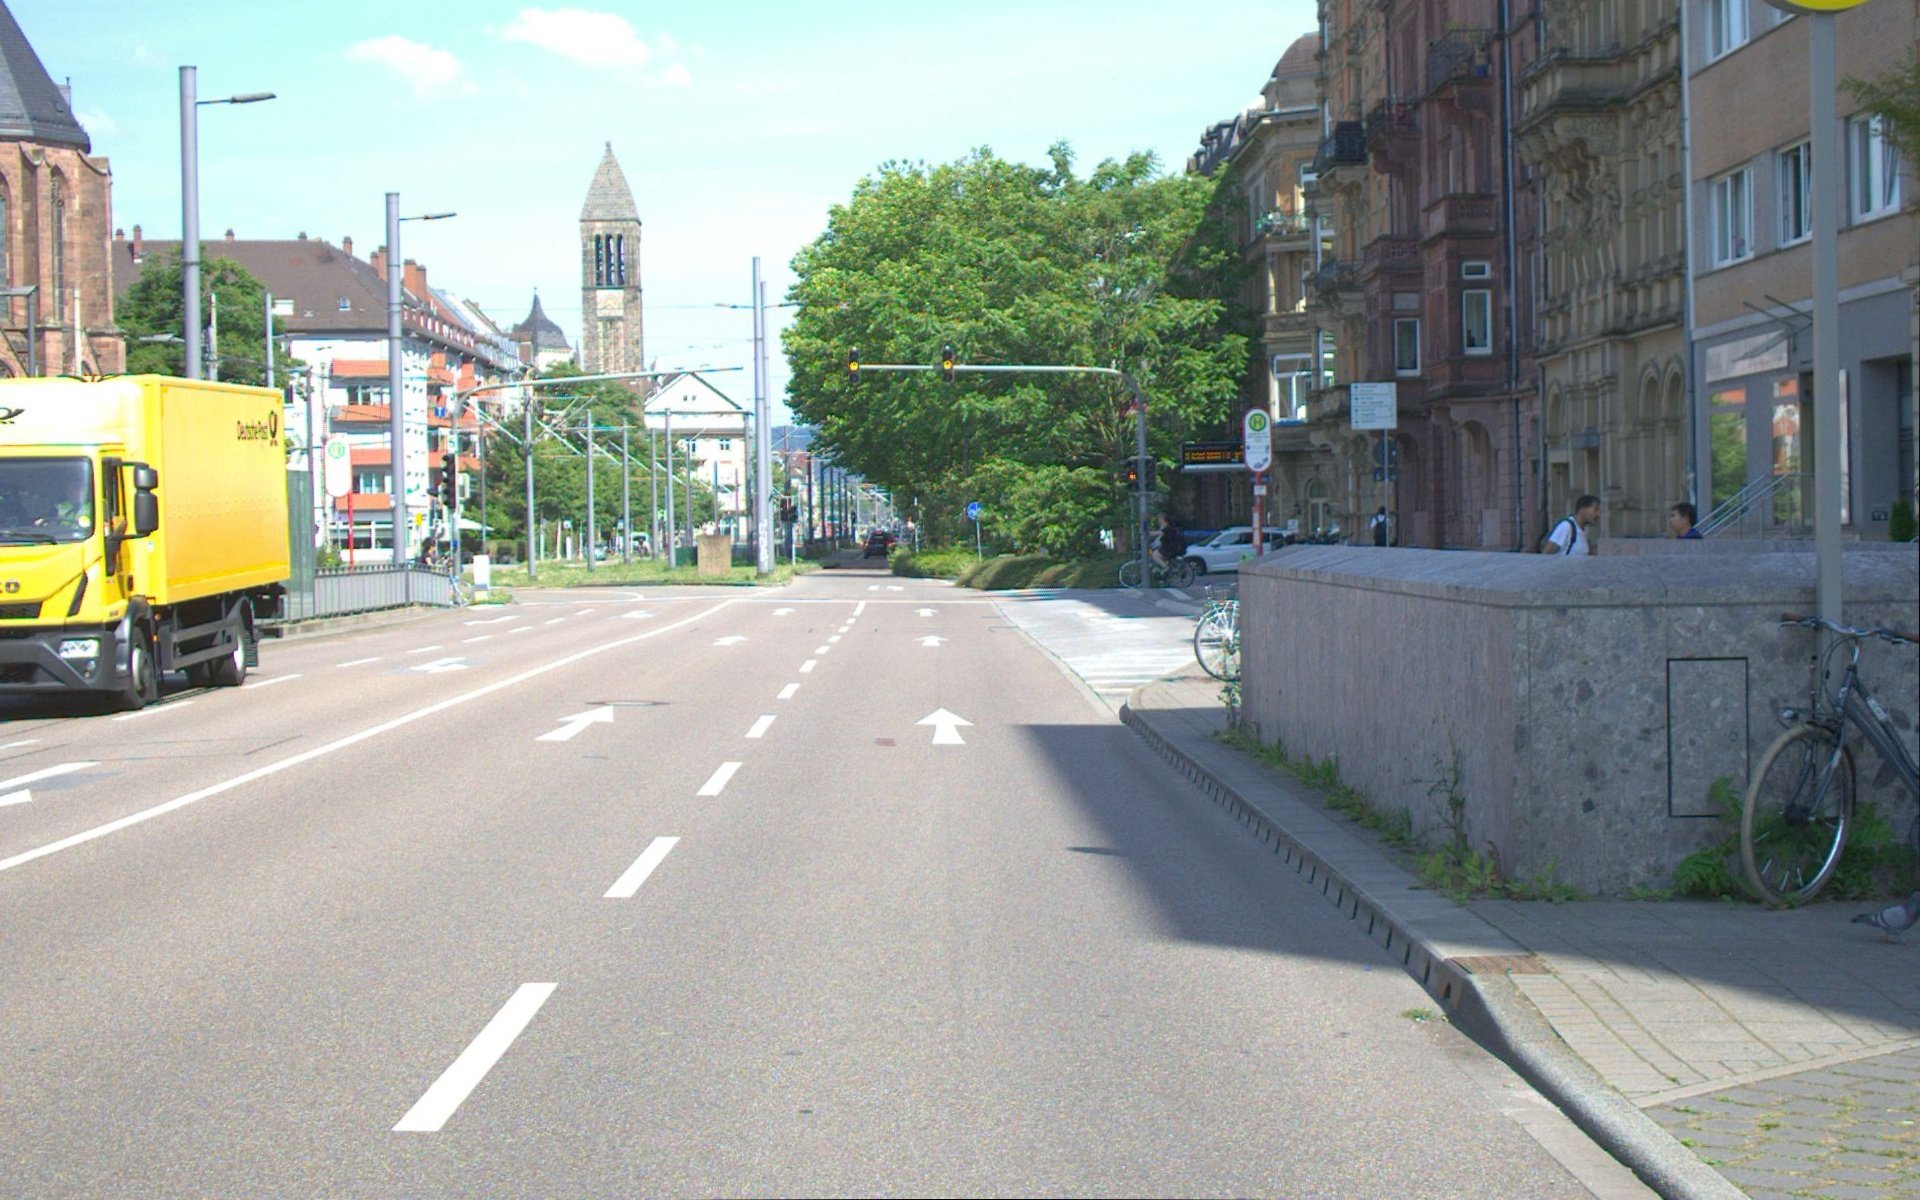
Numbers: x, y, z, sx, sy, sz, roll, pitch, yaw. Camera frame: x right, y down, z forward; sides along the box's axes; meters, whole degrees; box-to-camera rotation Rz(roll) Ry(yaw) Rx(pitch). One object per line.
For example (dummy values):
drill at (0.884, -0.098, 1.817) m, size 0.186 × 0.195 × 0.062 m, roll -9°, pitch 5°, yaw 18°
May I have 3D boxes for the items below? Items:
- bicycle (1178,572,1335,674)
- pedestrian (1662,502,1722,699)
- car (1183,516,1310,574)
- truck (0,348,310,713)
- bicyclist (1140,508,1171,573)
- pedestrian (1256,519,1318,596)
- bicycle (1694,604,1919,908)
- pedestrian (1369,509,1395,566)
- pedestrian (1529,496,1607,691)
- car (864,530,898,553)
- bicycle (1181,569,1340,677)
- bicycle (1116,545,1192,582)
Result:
bicycle at (2.856, 0.219, 33.163) m, size 1.460 × 0.943 × 0.415 m, roll -1°, pitch 0°, yaw -1°
pedestrian at (6.261, -0.002, 29.432) m, size 0.371 × 1.660 × 0.525 m, roll -1°, pitch 1°, yaw 0°
car at (9.368, -1.802, 112.560) m, size 3.987 × 1.743 × 2.000 m, roll -1°, pitch 4°, yaw 1°
truck at (-8.985, -0.692, 36.227) m, size 2.543 × 3.287 × 9.029 m, roll -3°, pitch 1°, yaw -1°
bicyclist at (4.862, -1.483, 85.607) m, size 0.639 × 1.586 × 0.483 m, roll -1°, pitch 3°, yaw -15°
pedestrian at (5.741, -0.749, 60.394) m, size 0.947 × 1.320 × 0.823 m, roll -1°, pitch 1°, yaw -3°
bicycle at (3.735, 0.572, 13.080) m, size 1.742 × 1.090 × 0.597 m, roll -1°, pitch 2°, yaw 0°
pedestrian at (10.643, -1.580, 86.745) m, size 0.532 × 1.402 × 0.491 m, roll -2°, pitch 4°, yaw -7°
pedestrian at (5.231, -0.060, 29.589) m, size 0.553 × 1.660 × 0.525 m, roll -1°, pitch 1°, yaw 0°
car at (-4.852, -3.582, 211.101) m, size 1.899 × 1.371 × 3.816 m, roll -1°, pitch 1°, yaw -3°
bicycle at (2.855, 0.217, 32.716) m, size 1.460 × 0.972 × 0.415 m, roll -1°, pitch 3°, yaw -1°
bicycle at (4.830, -0.904, 85.624) m, size 1.818 × 0.860 × 0.483 m, roll -1°, pitch 3°, yaw -15°
